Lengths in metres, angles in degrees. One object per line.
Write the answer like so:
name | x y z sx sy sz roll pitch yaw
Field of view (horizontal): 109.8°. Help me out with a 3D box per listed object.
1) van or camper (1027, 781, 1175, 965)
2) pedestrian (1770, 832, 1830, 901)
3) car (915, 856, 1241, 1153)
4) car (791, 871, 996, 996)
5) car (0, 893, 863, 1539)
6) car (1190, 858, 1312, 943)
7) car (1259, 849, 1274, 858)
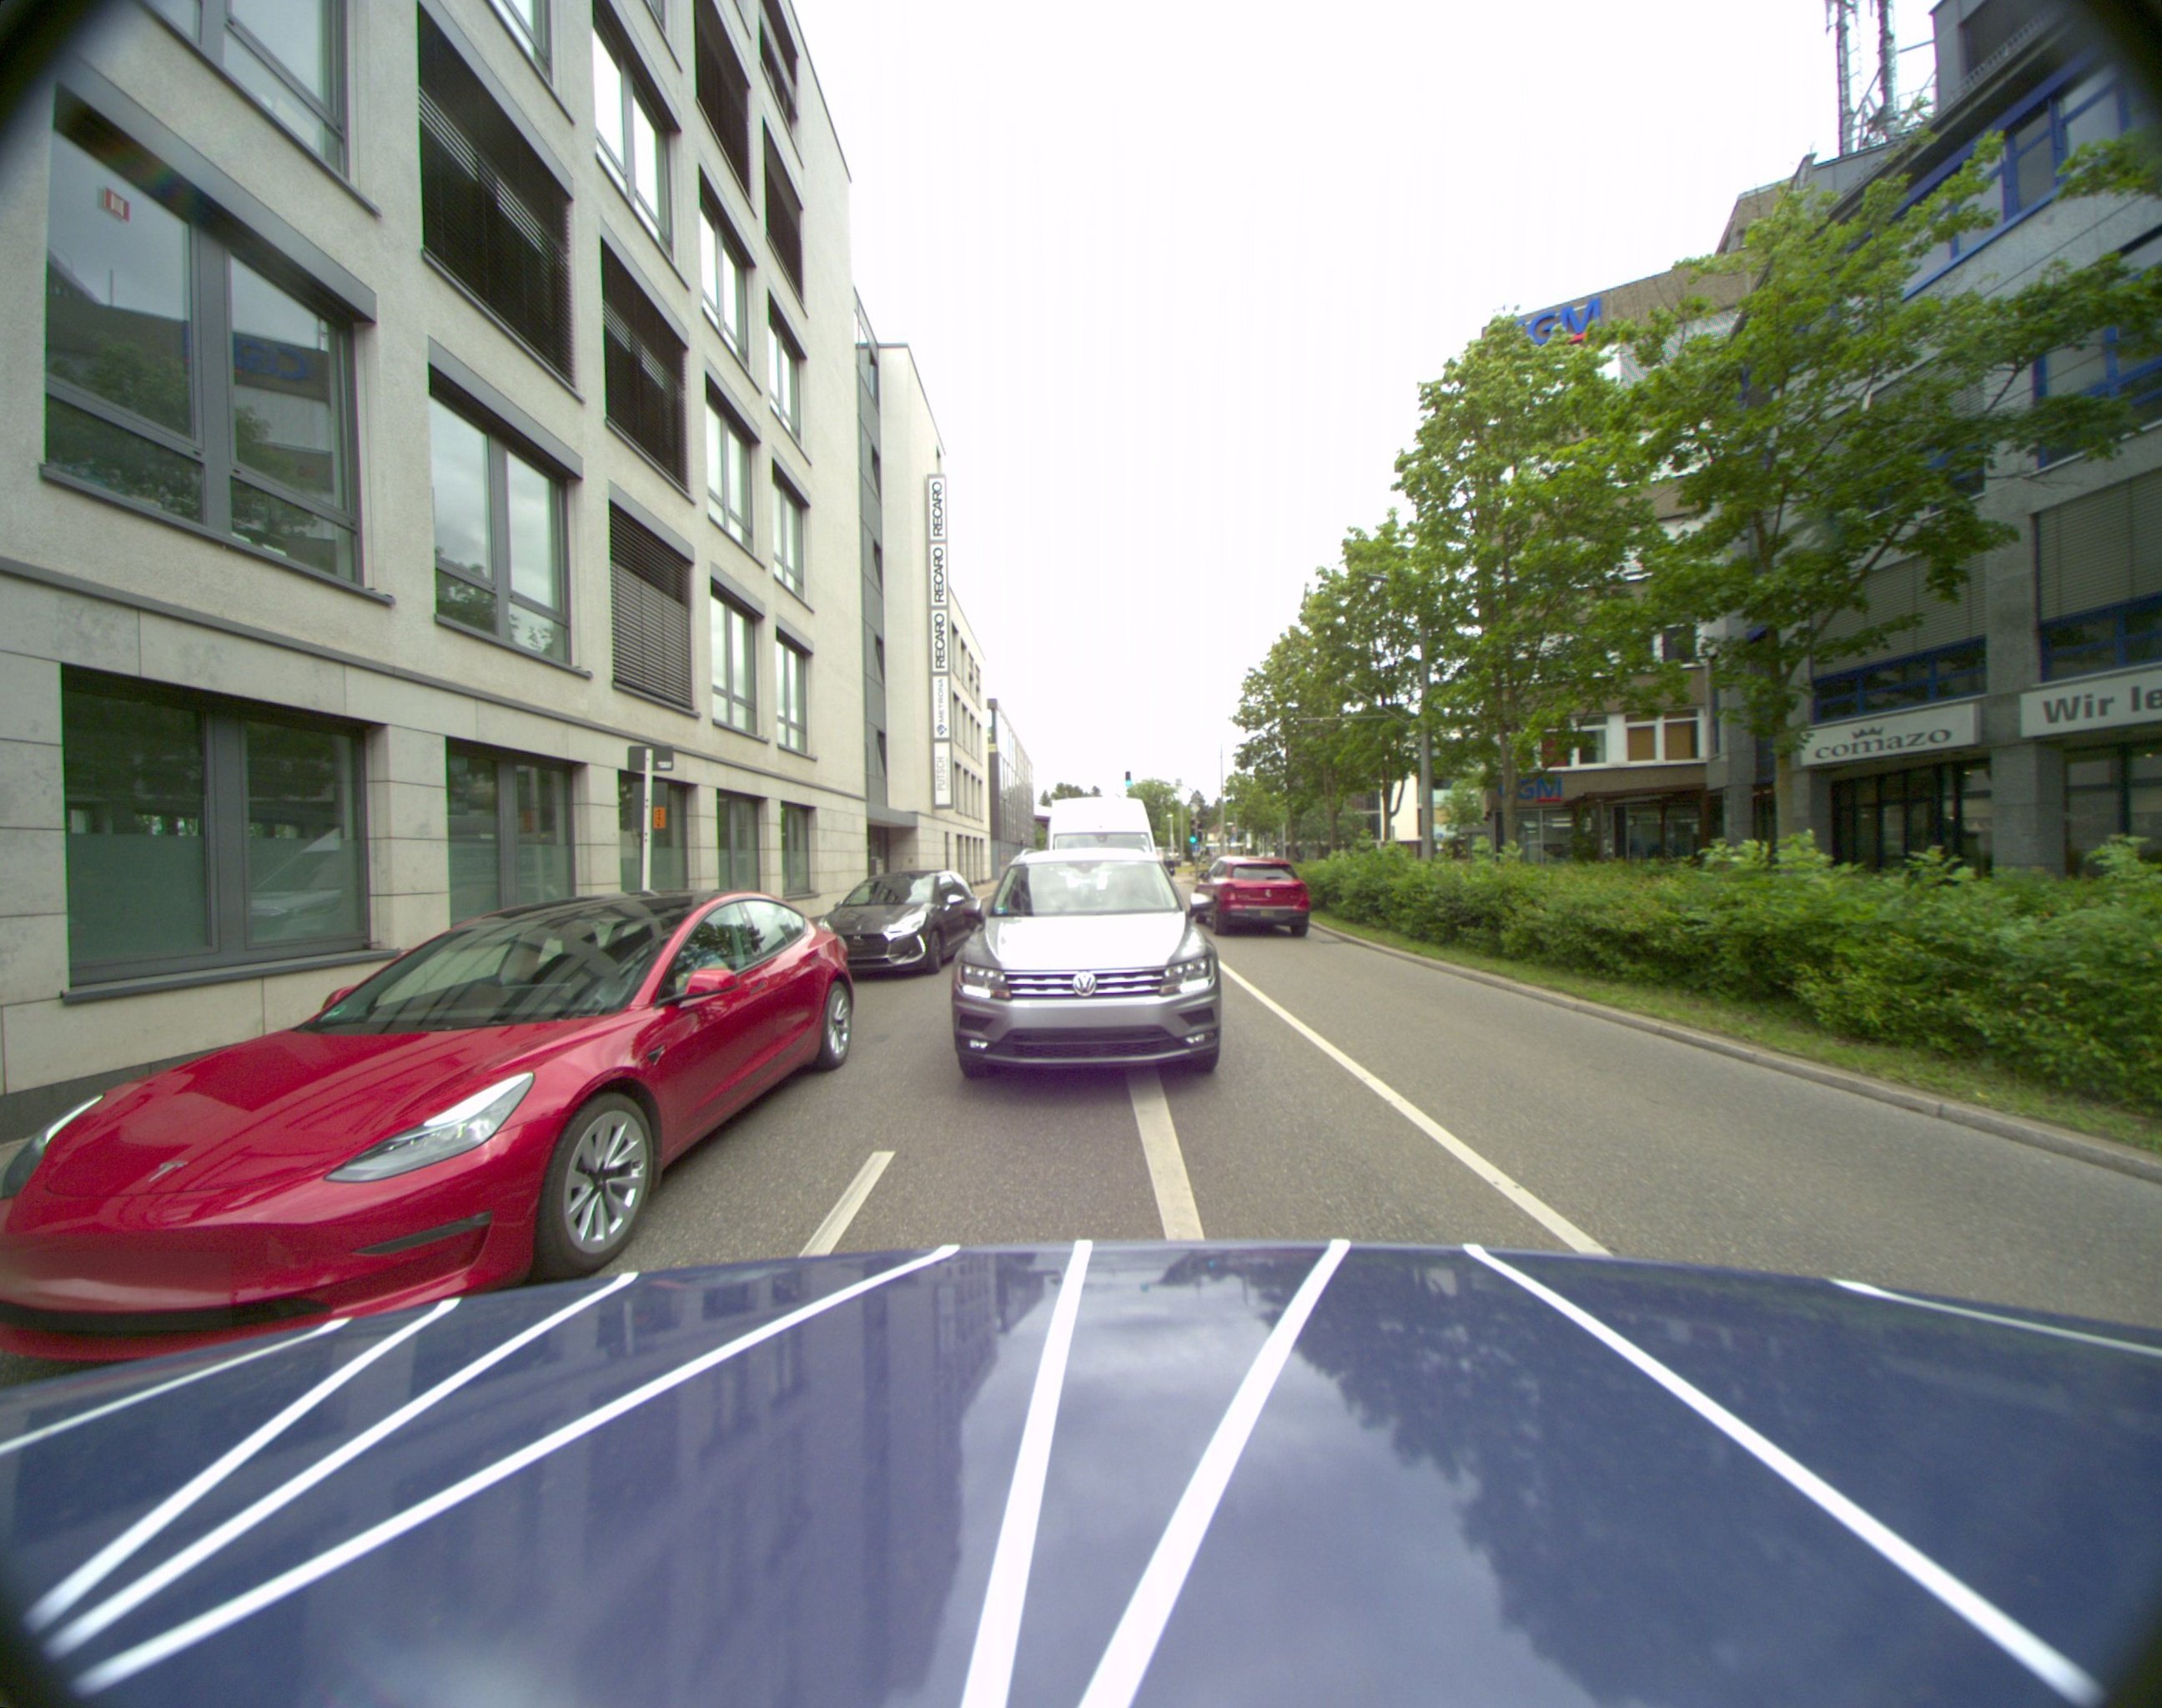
van or camper | 0.280 0.281 14.632 2.110 2.674 6.298 -3 0 0
pedestrian | 16.197 0.275 17.127 0.699 1.474 0.678 -3 0 -14
car | 0.010 0.897 6.629 1.833 1.636 4.326 -3 0 1
car | -2.689 1.098 11.951 1.704 1.452 4.064 -3 0 7
car | -2.800 1.087 4.206 1.878 1.410 4.442 -3 0 -1
car | 3.514 0.891 16.464 1.754 1.579 4.135 0 0 1
car | 43.752 -0.063 179.309 1.994 1.888 4.007 -2 1 34
